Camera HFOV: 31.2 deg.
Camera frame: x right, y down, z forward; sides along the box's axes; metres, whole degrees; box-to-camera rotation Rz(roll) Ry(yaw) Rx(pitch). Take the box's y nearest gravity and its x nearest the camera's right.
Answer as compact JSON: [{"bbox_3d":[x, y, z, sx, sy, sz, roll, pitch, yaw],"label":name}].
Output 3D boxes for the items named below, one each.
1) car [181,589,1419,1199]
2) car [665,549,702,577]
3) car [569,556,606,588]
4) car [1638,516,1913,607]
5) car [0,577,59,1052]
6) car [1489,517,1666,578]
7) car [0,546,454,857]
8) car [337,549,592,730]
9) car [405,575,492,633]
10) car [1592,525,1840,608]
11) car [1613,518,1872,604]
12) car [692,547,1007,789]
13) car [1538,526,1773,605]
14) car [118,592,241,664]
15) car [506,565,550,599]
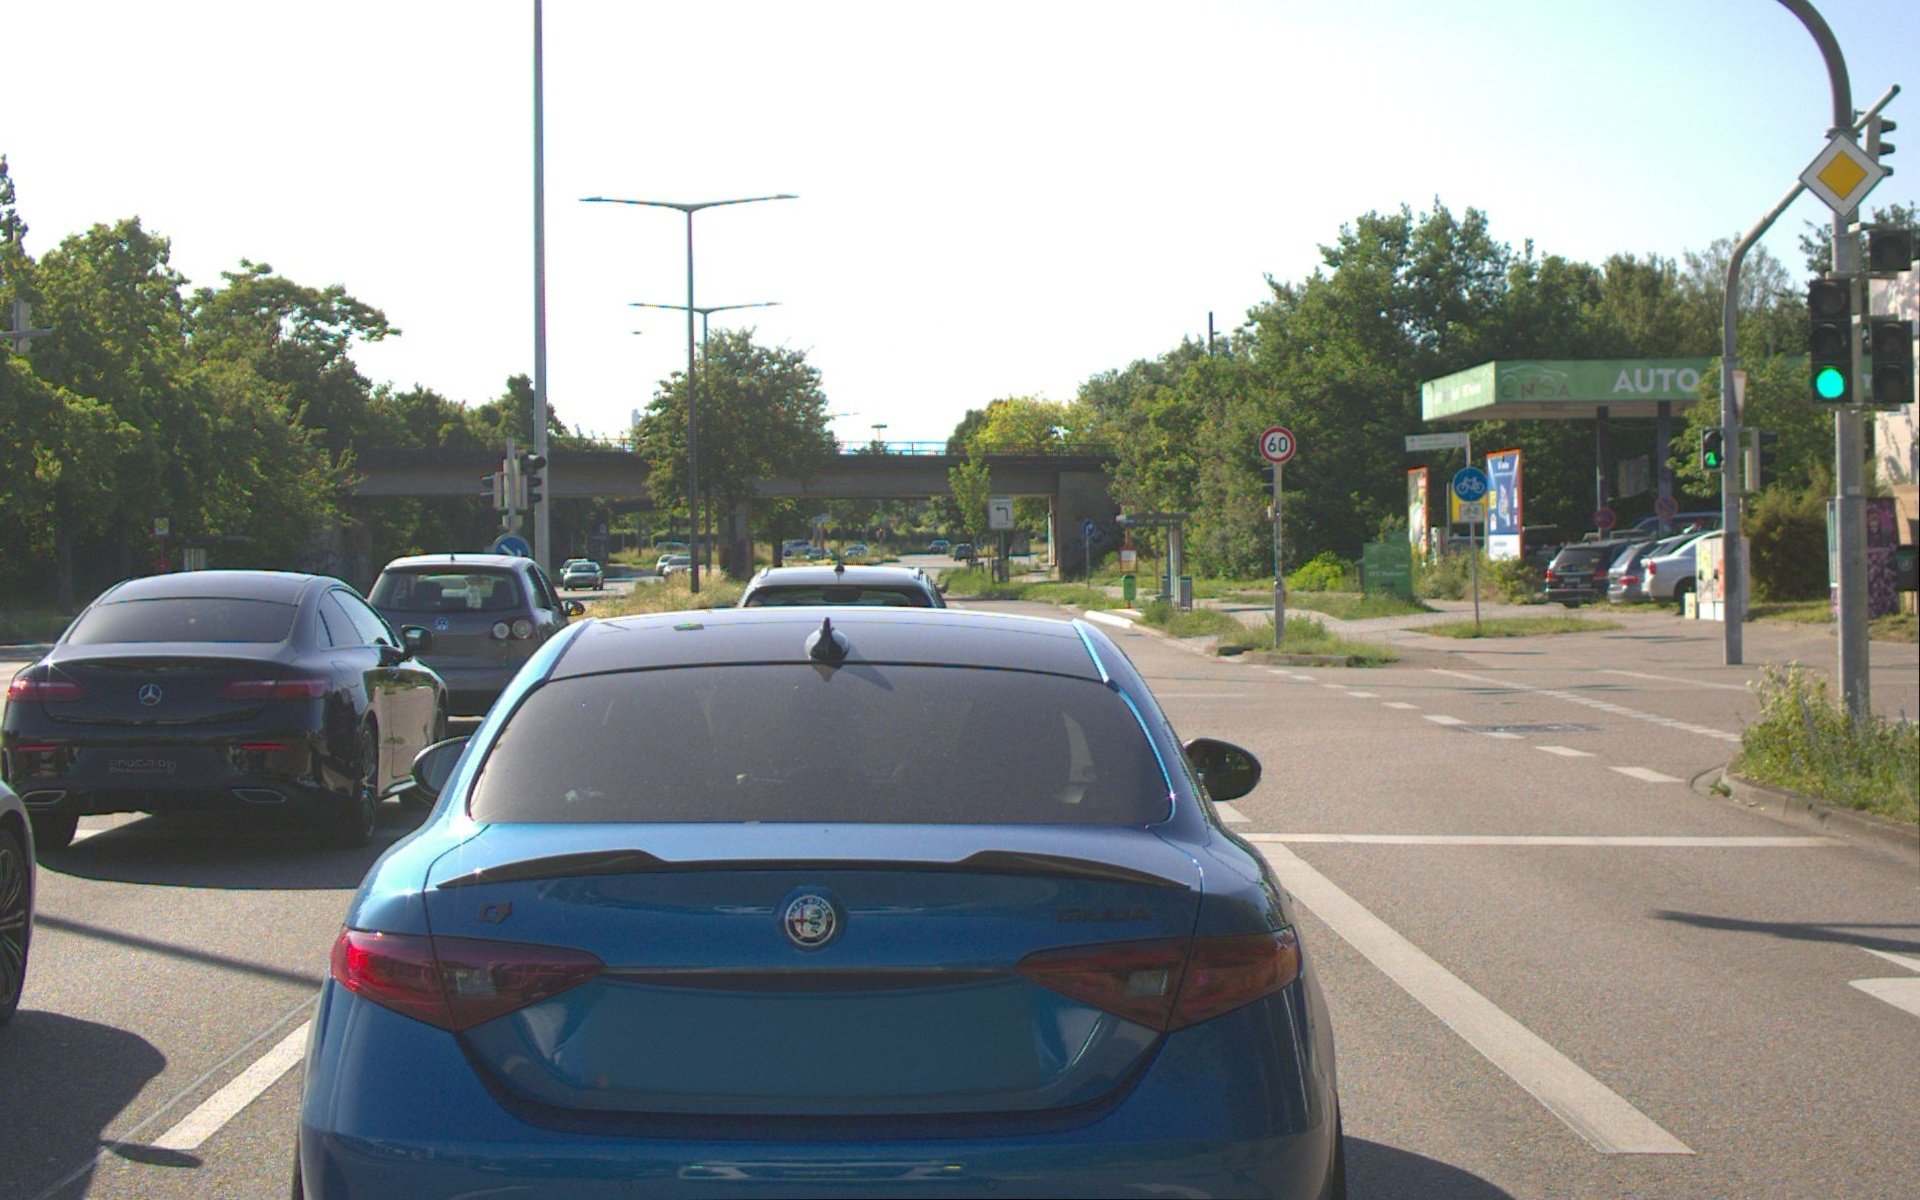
[{"bbox_3d":[-0.311,0.696,7.502,1.895,1.413,4.403,1,0,-2],"label":"car"},{"bbox_3d":[-15.861,-2.118,197.182,1.759,1.485,4.478,-2,0,0],"label":"car"},{"bbox_3d":[-19.569,-1.451,180.580,1.609,1.641,3.463,1,0,-1],"label":"car"},{"bbox_3d":[14.678,-0.694,62.034,4.489,1.449,1.858,-2,0,1],"label":"car"},{"bbox_3d":[-3.837,0.661,9.223,1.785,1.485,4.403,1,0,-2],"label":"car"},{"bbox_3d":[17.046,-1.436,95.081,4.551,1.485,1.765,-2,0,1],"label":"car"},{"bbox_3d":[-3.957,0.484,18.885,1.796,1.485,4.476,1,0,-2],"label":"car"},{"bbox_3d":[-4.368,0.327,30.858,1.759,1.485,4.403,1,0,-2],"label":"car"},{"bbox_3d":[-13.859,0.098,93.317,1.759,1.485,3.837,-2,0,0],"label":"car"},{"bbox_3d":[14.985,-0.667,68.278,4.489,1.449,1.858,-2,0,1],"label":"car"},{"bbox_3d":[14.871,-0.735,65.516,4.489,1.449,1.858,-2,0,1],"label":"car"},{"bbox_3d":[-0.722,0.400,22.621,1.850,1.413,4.403,1,0,-2],"label":"car"},{"bbox_3d":[14.460,-0.719,71.644,4.489,1.449,1.858,-2,0,1],"label":"car"},{"bbox_3d":[-17.706,0.611,78.146,1.759,1.485,4.478,-2,0,0],"label":"car"},{"bbox_3d":[-20.110,-0.826,160.132,1.615,1.554,3.358,1,0,-1],"label":"car"}]
